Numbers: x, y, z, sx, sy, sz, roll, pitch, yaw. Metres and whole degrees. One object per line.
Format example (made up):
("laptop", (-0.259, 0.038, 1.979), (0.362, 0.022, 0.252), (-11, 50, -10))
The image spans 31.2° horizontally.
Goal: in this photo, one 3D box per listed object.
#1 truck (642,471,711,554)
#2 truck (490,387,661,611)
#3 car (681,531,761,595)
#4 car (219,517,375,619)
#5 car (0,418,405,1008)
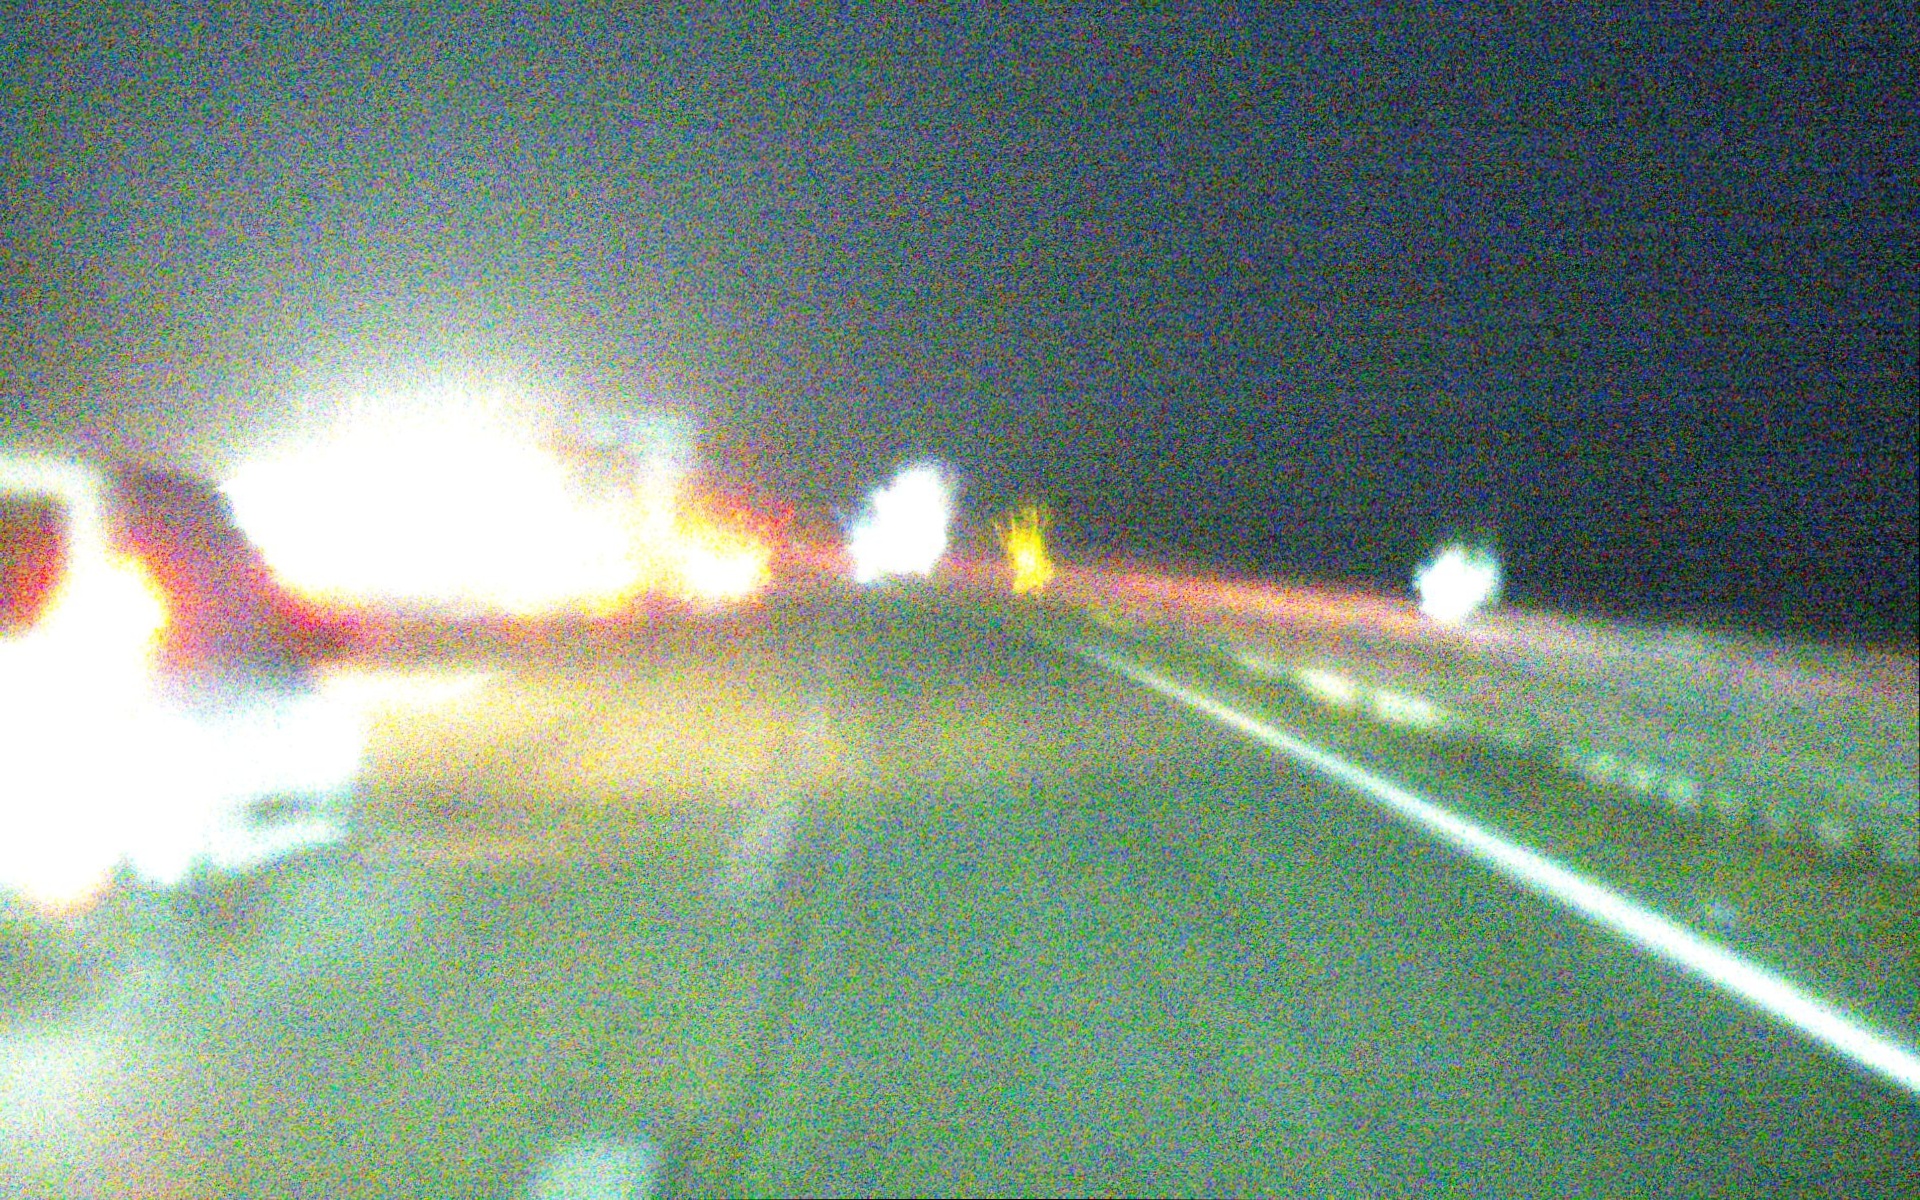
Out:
("truck", (-17.688, -5.393, 213.936), (3.823, 4.898, 11.609), (1, 1, -6))
("truck", (-10.360, -2.621, 92.560), (4.166, 5.525, 13.077), (1, 1, -6))
("car", (-6.719, -1.043, 96.283), (1.993, 1.701, 4.196), (1, 1, -7))
("car", (-11.575, -0.569, 60.279), (1.993, 1.701, 4.196), (1, 1, -1))
("car", (-3.573, 0.294, 13.022), (1.953, 1.786, 5.124), (1, 1, 2))
